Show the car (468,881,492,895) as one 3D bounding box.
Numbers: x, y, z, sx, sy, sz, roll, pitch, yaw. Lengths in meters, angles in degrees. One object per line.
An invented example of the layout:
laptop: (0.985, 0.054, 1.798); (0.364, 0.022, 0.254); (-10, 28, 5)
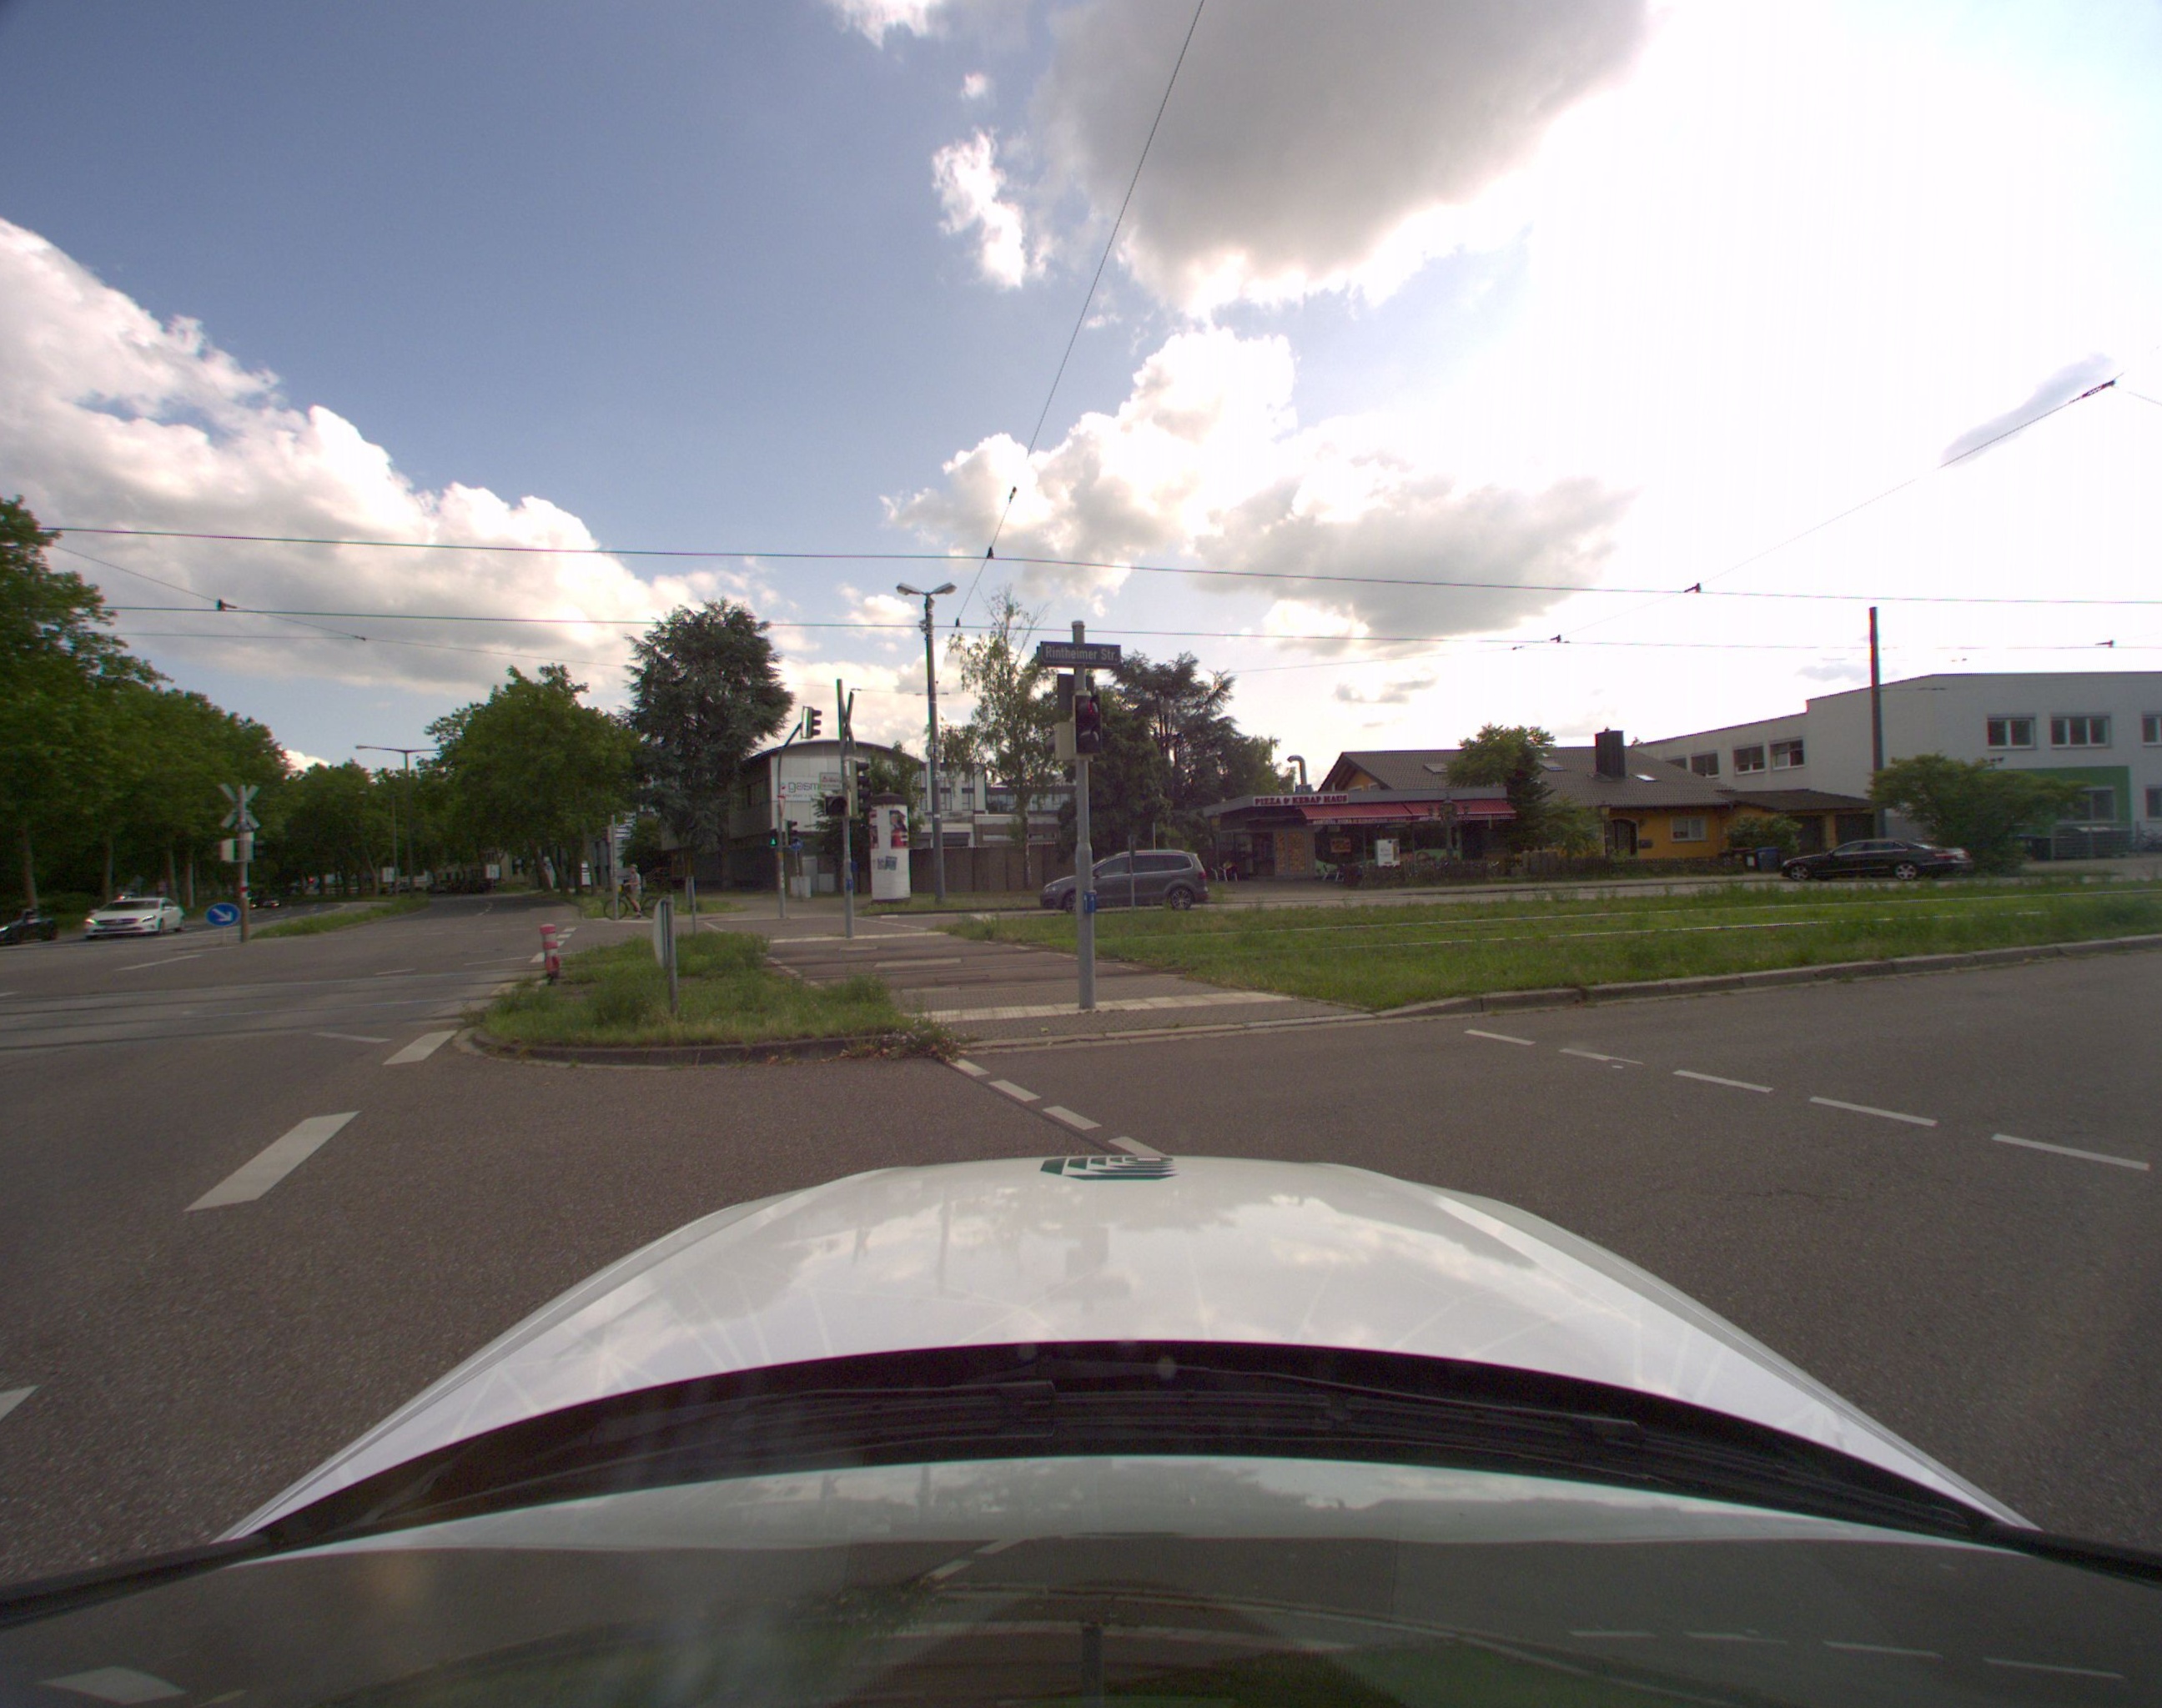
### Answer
car: (-77.795, 4.367, 105.415); (2.012, 1.574, 3.951); (-2, 2, -44)

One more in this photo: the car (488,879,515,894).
car: (-69.242, 3.823, 97.321); (2.012, 1.574, 3.951); (-2, 2, -44)

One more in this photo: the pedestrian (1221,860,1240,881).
pedestrian: (7.084, 0.768, 38.652); (0.722, 0.929, 0.777); (-1, 1, 0)

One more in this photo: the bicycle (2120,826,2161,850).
bicycle: (52.849, -0.798, 40.384); (0.699, 1.166, 1.626); (-2, -1, 12)

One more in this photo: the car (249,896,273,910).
car: (-80.948, 4.808, 80.394); (3.661, 1.192, 1.650); (-2, -1, 44)

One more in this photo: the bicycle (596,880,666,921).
bicycle: (-14.773, 1.517, 26.786); (1.954, 1.235, 0.537); (-2, 1, -24)

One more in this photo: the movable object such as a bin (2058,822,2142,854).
movable object such as a bin: (46.290, -0.726, 37.017); (2.119, 1.326, 1.376); (-2, -1, -2)

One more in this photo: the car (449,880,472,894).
car: (-84.344, 4.494, 110.608); (2.012, 1.574, 3.951); (-2, 2, -44)

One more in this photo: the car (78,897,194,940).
car: (-35.777, 2.386, 30.958); (1.838, 1.364, 4.093); (-2, -1, -34)

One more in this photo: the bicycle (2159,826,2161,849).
bicycle: (55.294, -0.877, 40.320); (0.755, 1.166, 2.352); (-2, 0, 1)

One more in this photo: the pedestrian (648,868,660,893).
pedestrian: (-27.894, 1.702, 53.191); (0.625, 1.569, 0.553); (-2, 1, -33)

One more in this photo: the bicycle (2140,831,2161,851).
bicycle: (54.380, -0.664, 40.461); (0.726, 0.970, 2.158); (-2, 0, -1)

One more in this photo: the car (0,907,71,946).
car: (-38.037, 2.591, 28.667); (1.643, 1.192, 3.677); (-2, -1, -25)

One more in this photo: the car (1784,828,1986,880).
car: (27.746, 0.043, 28.306); (2.003, 1.580, 4.541); (-2, -2, -25)

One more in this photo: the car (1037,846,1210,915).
car: (1.133, 0.723, 23.310); (4.717, 1.722, 1.997); (-2, -1, -5)

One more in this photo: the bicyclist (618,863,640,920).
bicyclist: (-14.839, 1.223, 26.742); (0.545, 1.809, 0.537); (-2, 1, -23)

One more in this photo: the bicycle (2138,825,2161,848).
bicycle: (52.002, -0.837, 38.829); (0.733, 1.081, 1.793); (-2, -1, -7)

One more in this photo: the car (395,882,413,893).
car: (-113.888, 5.694, 137.003); (2.012, 1.574, 3.951); (-2, 2, -44)

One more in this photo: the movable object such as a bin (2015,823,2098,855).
movable object such as a bin: (44.117, -0.655, 36.871); (2.104, 1.326, 1.376); (-2, -1, -2)
